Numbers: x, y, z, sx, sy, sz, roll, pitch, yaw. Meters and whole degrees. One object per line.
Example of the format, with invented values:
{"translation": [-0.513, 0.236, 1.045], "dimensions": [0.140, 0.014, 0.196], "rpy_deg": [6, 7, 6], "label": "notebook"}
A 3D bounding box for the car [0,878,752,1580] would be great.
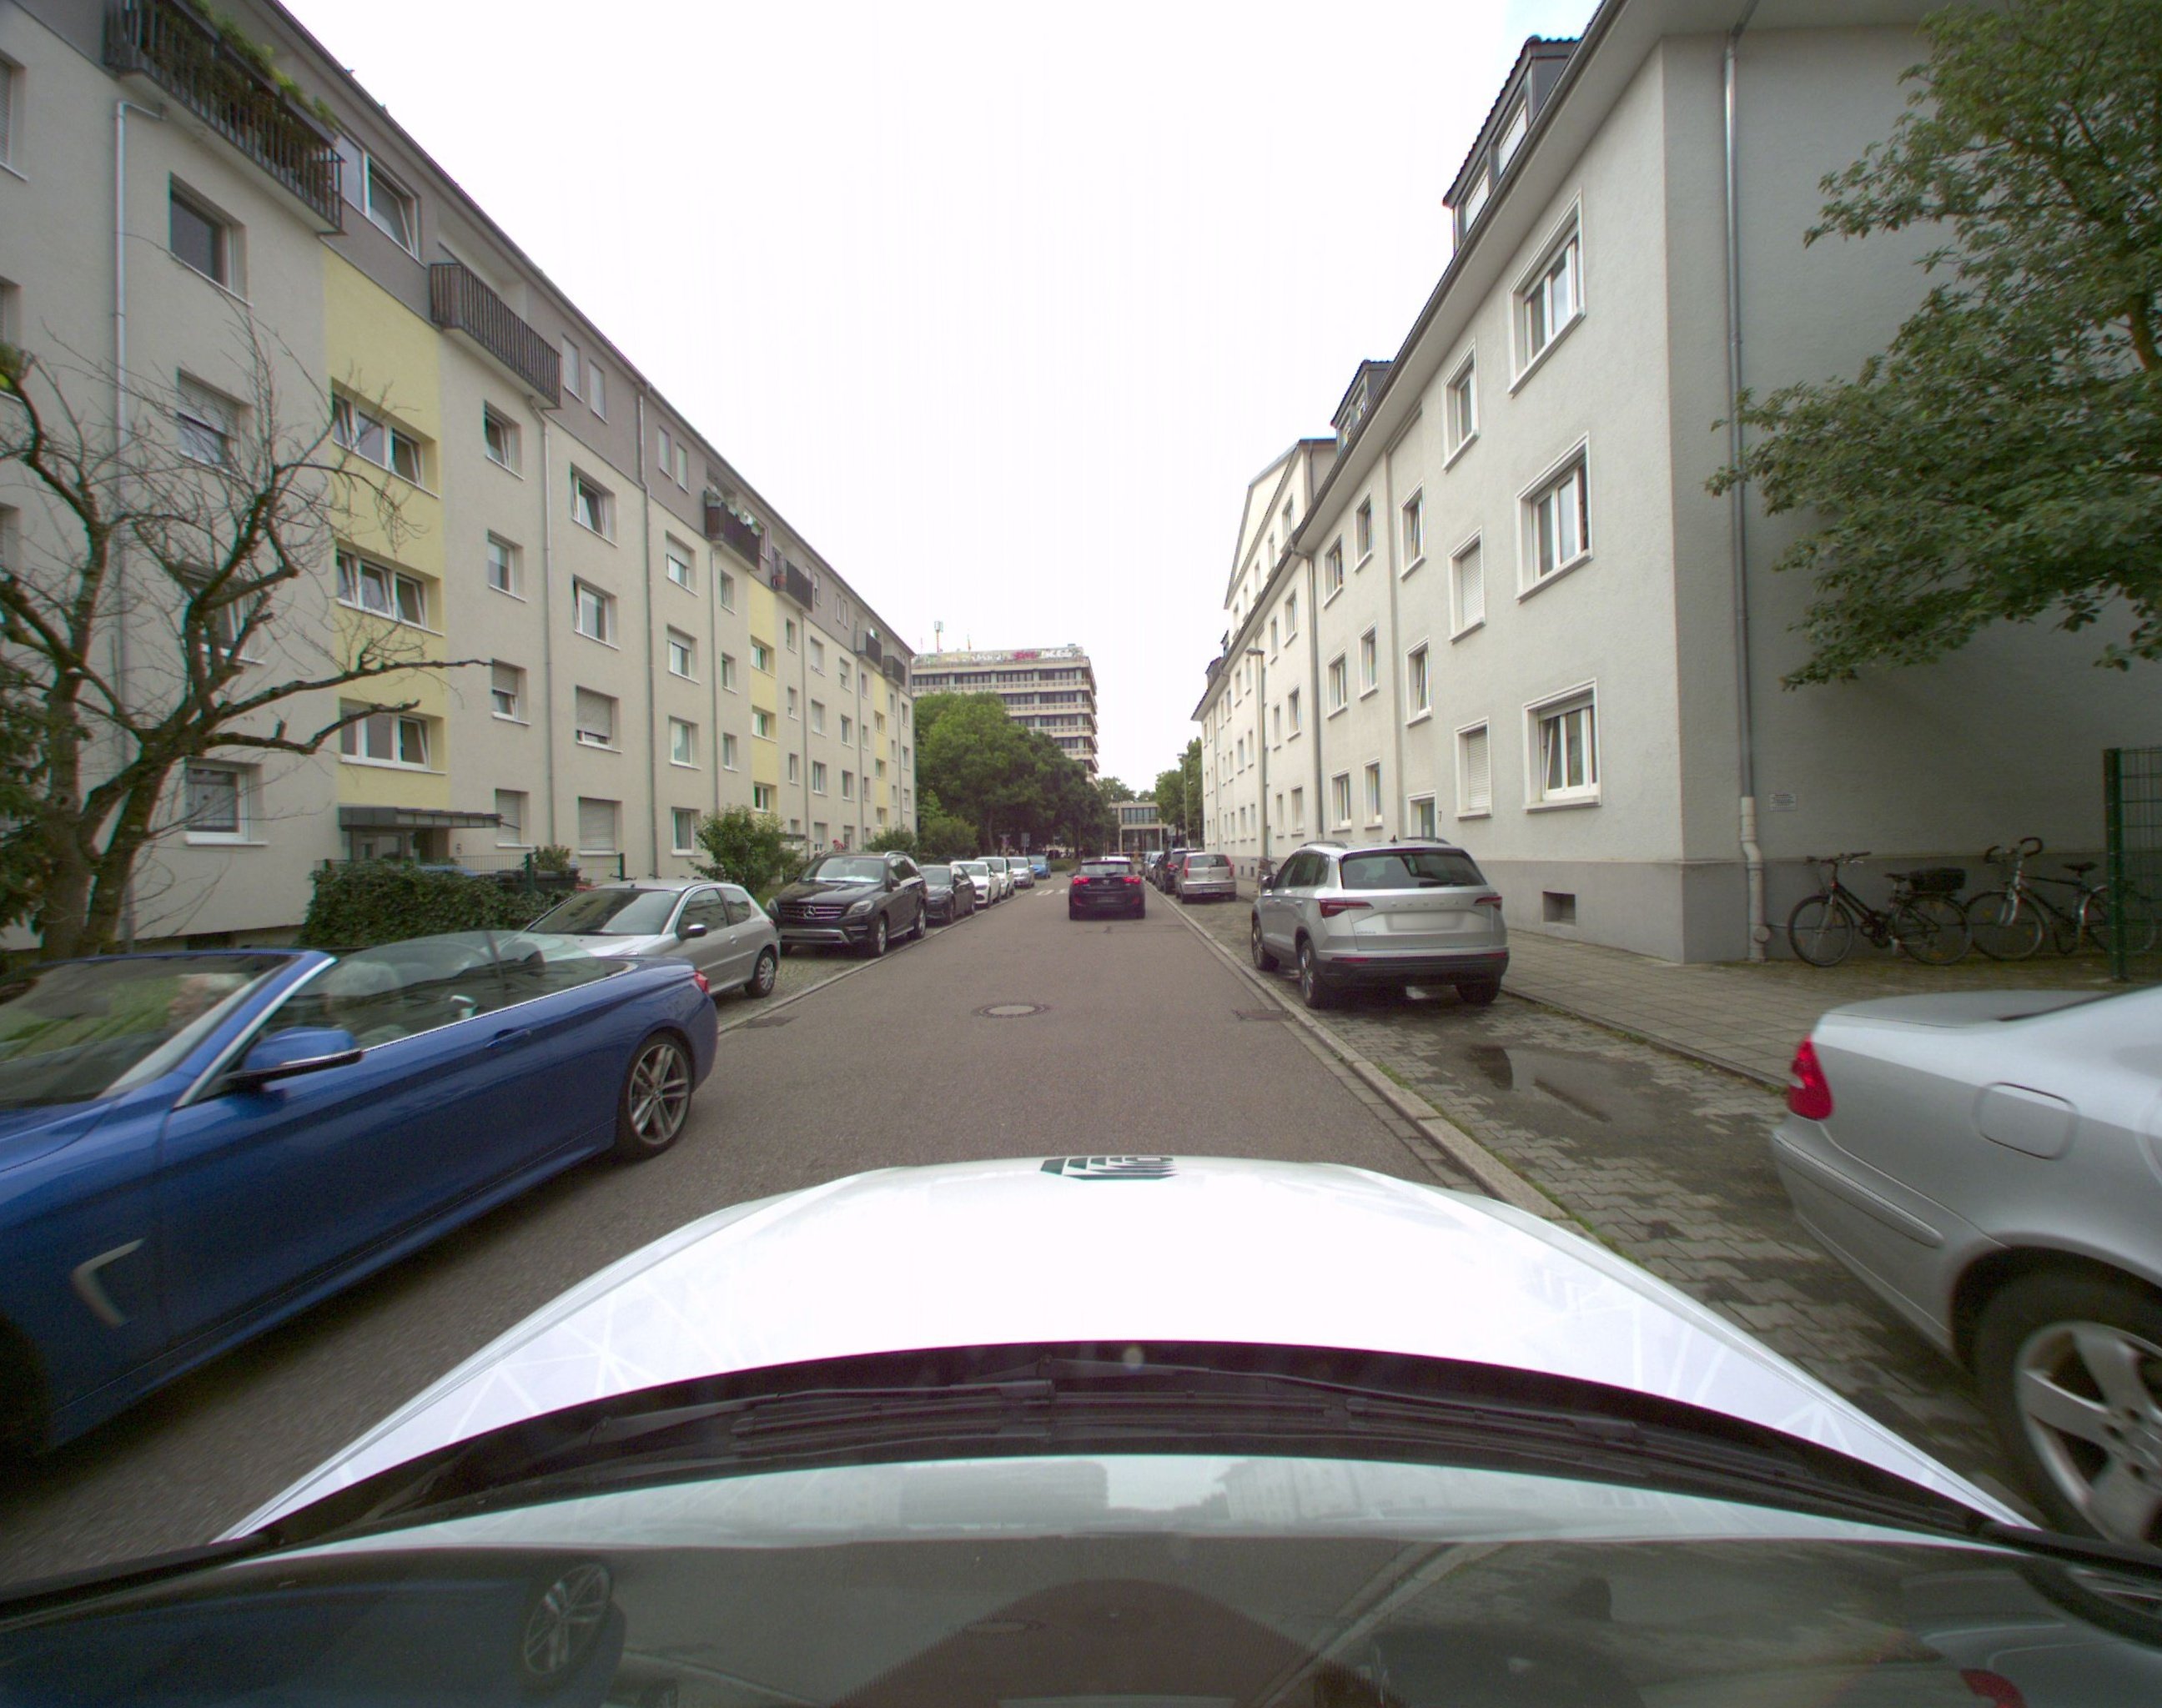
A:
{"translation": [-3.262, 0.911, 3.227], "dimensions": [1.837, 1.451, 4.505], "rpy_deg": [-1, 0, 3], "label": "car"}

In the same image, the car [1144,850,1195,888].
{"translation": [3.854, 0.617, 36.031], "dimensions": [1.813, 1.519, 4.675], "rpy_deg": [-2, 0, 2], "label": "car"}

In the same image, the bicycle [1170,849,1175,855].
{"translation": [15.669, -0.321, 139.886], "dimensions": [0.690, 0.997, 1.736], "rpy_deg": [-1, 0, 3], "label": "bicycle"}

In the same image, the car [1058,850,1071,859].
{"translation": [-2.526, 0.077, 125.069], "dimensions": [1.659, 1.333, 3.397], "rpy_deg": [-2, 0, 2], "label": "car"}

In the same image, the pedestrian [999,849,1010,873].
{"translation": [-5.472, 0.491, 58.313], "dimensions": [0.598, 1.713, 0.649], "rpy_deg": [-1, 0, 4], "label": "pedestrian"}

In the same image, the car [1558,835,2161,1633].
{"translation": [2.843, 0.694, 1.254], "dimensions": [1.718, 1.476, 4.507], "rpy_deg": [-1, 0, 2], "label": "car"}

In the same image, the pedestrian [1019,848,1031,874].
{"translation": [-3.973, 0.499, 58.262], "dimensions": [0.710, 1.831, 0.798], "rpy_deg": [-1, 0, 4], "label": "pedestrian"}

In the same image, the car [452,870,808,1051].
{"translation": [-4.668, 0.990, 9.170], "dimensions": [1.738, 1.464, 3.788], "rpy_deg": [-2, 0, 2], "label": "car"}

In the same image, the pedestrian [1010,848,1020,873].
{"translation": [-4.756, 0.468, 58.609], "dimensions": [0.602, 1.831, 0.676], "rpy_deg": [-1, 0, 4], "label": "pedestrian"}

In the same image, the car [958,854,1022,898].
{"translation": [-3.570, 0.830, 32.731], "dimensions": [1.888, 1.599, 4.523], "rpy_deg": [1, 0, 2], "label": "car"}

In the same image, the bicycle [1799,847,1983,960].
{"translation": [8.139, 0.486, 8.217], "dimensions": [1.287, 1.062, 0.498], "rpy_deg": [-2, 0, 4], "label": "bicycle"}

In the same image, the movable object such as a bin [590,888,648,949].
{"translation": [-7.744, 1.071, 13.678], "dimensions": [0.549, 0.954, 0.635], "rpy_deg": [-3, 0, 1], "label": "movable object such as a bin"}

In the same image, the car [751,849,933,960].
{"translation": [-4.177, 0.793, 15.092], "dimensions": [1.888, 1.740, 4.477], "rpy_deg": [1, 0, 2], "label": "car"}

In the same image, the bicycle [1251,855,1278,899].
{"translation": [5.253, 0.636, 23.413], "dimensions": [0.527, 1.175, 2.041], "rpy_deg": [-3, 0, 8], "label": "bicycle"}

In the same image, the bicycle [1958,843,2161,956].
{"translation": [9.898, 0.447, 8.231], "dimensions": [1.442, 1.062, 0.498], "rpy_deg": [-2, 0, 4], "label": "bicycle"}

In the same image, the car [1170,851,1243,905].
{"translation": [3.807, 0.673, 25.248], "dimensions": [1.813, 1.503, 4.094], "rpy_deg": [-1, 0, 3], "label": "car"}

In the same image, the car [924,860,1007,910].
{"translation": [-3.656, 0.940, 26.640], "dimensions": [1.888, 1.452, 4.523], "rpy_deg": [1, 0, 2], "label": "car"}

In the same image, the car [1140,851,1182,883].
{"translation": [4.086, 0.620, 42.155], "dimensions": [1.813, 1.519, 4.675], "rpy_deg": [-2, 0, 2], "label": "car"}

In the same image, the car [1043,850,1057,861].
{"translation": [-4.281, 0.206, 111.670], "dimensions": [1.659, 1.333, 3.397], "rpy_deg": [-2, 0, 2], "label": "car"}

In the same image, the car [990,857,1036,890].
{"translation": [-3.361, 0.948, 40.935], "dimensions": [1.987, 1.541, 3.999], "rpy_deg": [-1, 0, 0], "label": "car"}

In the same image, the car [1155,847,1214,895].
{"translation": [3.716, 0.578, 29.951], "dimensions": [1.813, 1.603, 4.094], "rpy_deg": [-2, 0, 3], "label": "car"}

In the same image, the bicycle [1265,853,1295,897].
{"translation": [5.680, 0.567, 23.365], "dimensions": [0.573, 1.175, 2.041], "rpy_deg": [-3, 0, 8], "label": "bicycle"}

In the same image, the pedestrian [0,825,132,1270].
{"translation": [-4.565, 0.755, 3.188], "dimensions": [0.742, 1.701, 0.792], "rpy_deg": [-2, 0, -16], "label": "pedestrian"}

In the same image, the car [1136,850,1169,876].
{"translation": [4.606, 0.553, 52.959], "dimensions": [1.813, 1.519, 4.675], "rpy_deg": [-3, 0, 2], "label": "car"}

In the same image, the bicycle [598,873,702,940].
{"translation": [-8.955, 1.051, 17.057], "dimensions": [0.785, 1.212, 2.356], "rpy_deg": [-2, 0, 2], "label": "bicycle"}

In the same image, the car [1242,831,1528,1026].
{"translation": [3.000, 0.632, 9.022], "dimensions": [1.813, 1.642, 4.094], "rpy_deg": [-1, 0, 3], "label": "car"}

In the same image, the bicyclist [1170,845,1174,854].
{"translation": [15.660, -0.814, 139.980], "dimensions": [0.690, 1.444, 0.796], "rpy_deg": [-1, 0, 3], "label": "bicyclist"}

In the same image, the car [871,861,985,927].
{"translation": [-3.826, 0.945, 21.184], "dimensions": [1.887, 1.452, 4.669], "rpy_deg": [1, 0, 2], "label": "car"}

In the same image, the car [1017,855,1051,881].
{"translation": [-3.059, 0.889, 53.363], "dimensions": [1.987, 1.541, 3.999], "rpy_deg": [-1, 0, 0], "label": "car"}

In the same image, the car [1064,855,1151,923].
{"translation": [0.692, 0.795, 20.366], "dimensions": [1.895, 1.433, 4.236], "rpy_deg": [-2, 0, 3], "label": "car"}
